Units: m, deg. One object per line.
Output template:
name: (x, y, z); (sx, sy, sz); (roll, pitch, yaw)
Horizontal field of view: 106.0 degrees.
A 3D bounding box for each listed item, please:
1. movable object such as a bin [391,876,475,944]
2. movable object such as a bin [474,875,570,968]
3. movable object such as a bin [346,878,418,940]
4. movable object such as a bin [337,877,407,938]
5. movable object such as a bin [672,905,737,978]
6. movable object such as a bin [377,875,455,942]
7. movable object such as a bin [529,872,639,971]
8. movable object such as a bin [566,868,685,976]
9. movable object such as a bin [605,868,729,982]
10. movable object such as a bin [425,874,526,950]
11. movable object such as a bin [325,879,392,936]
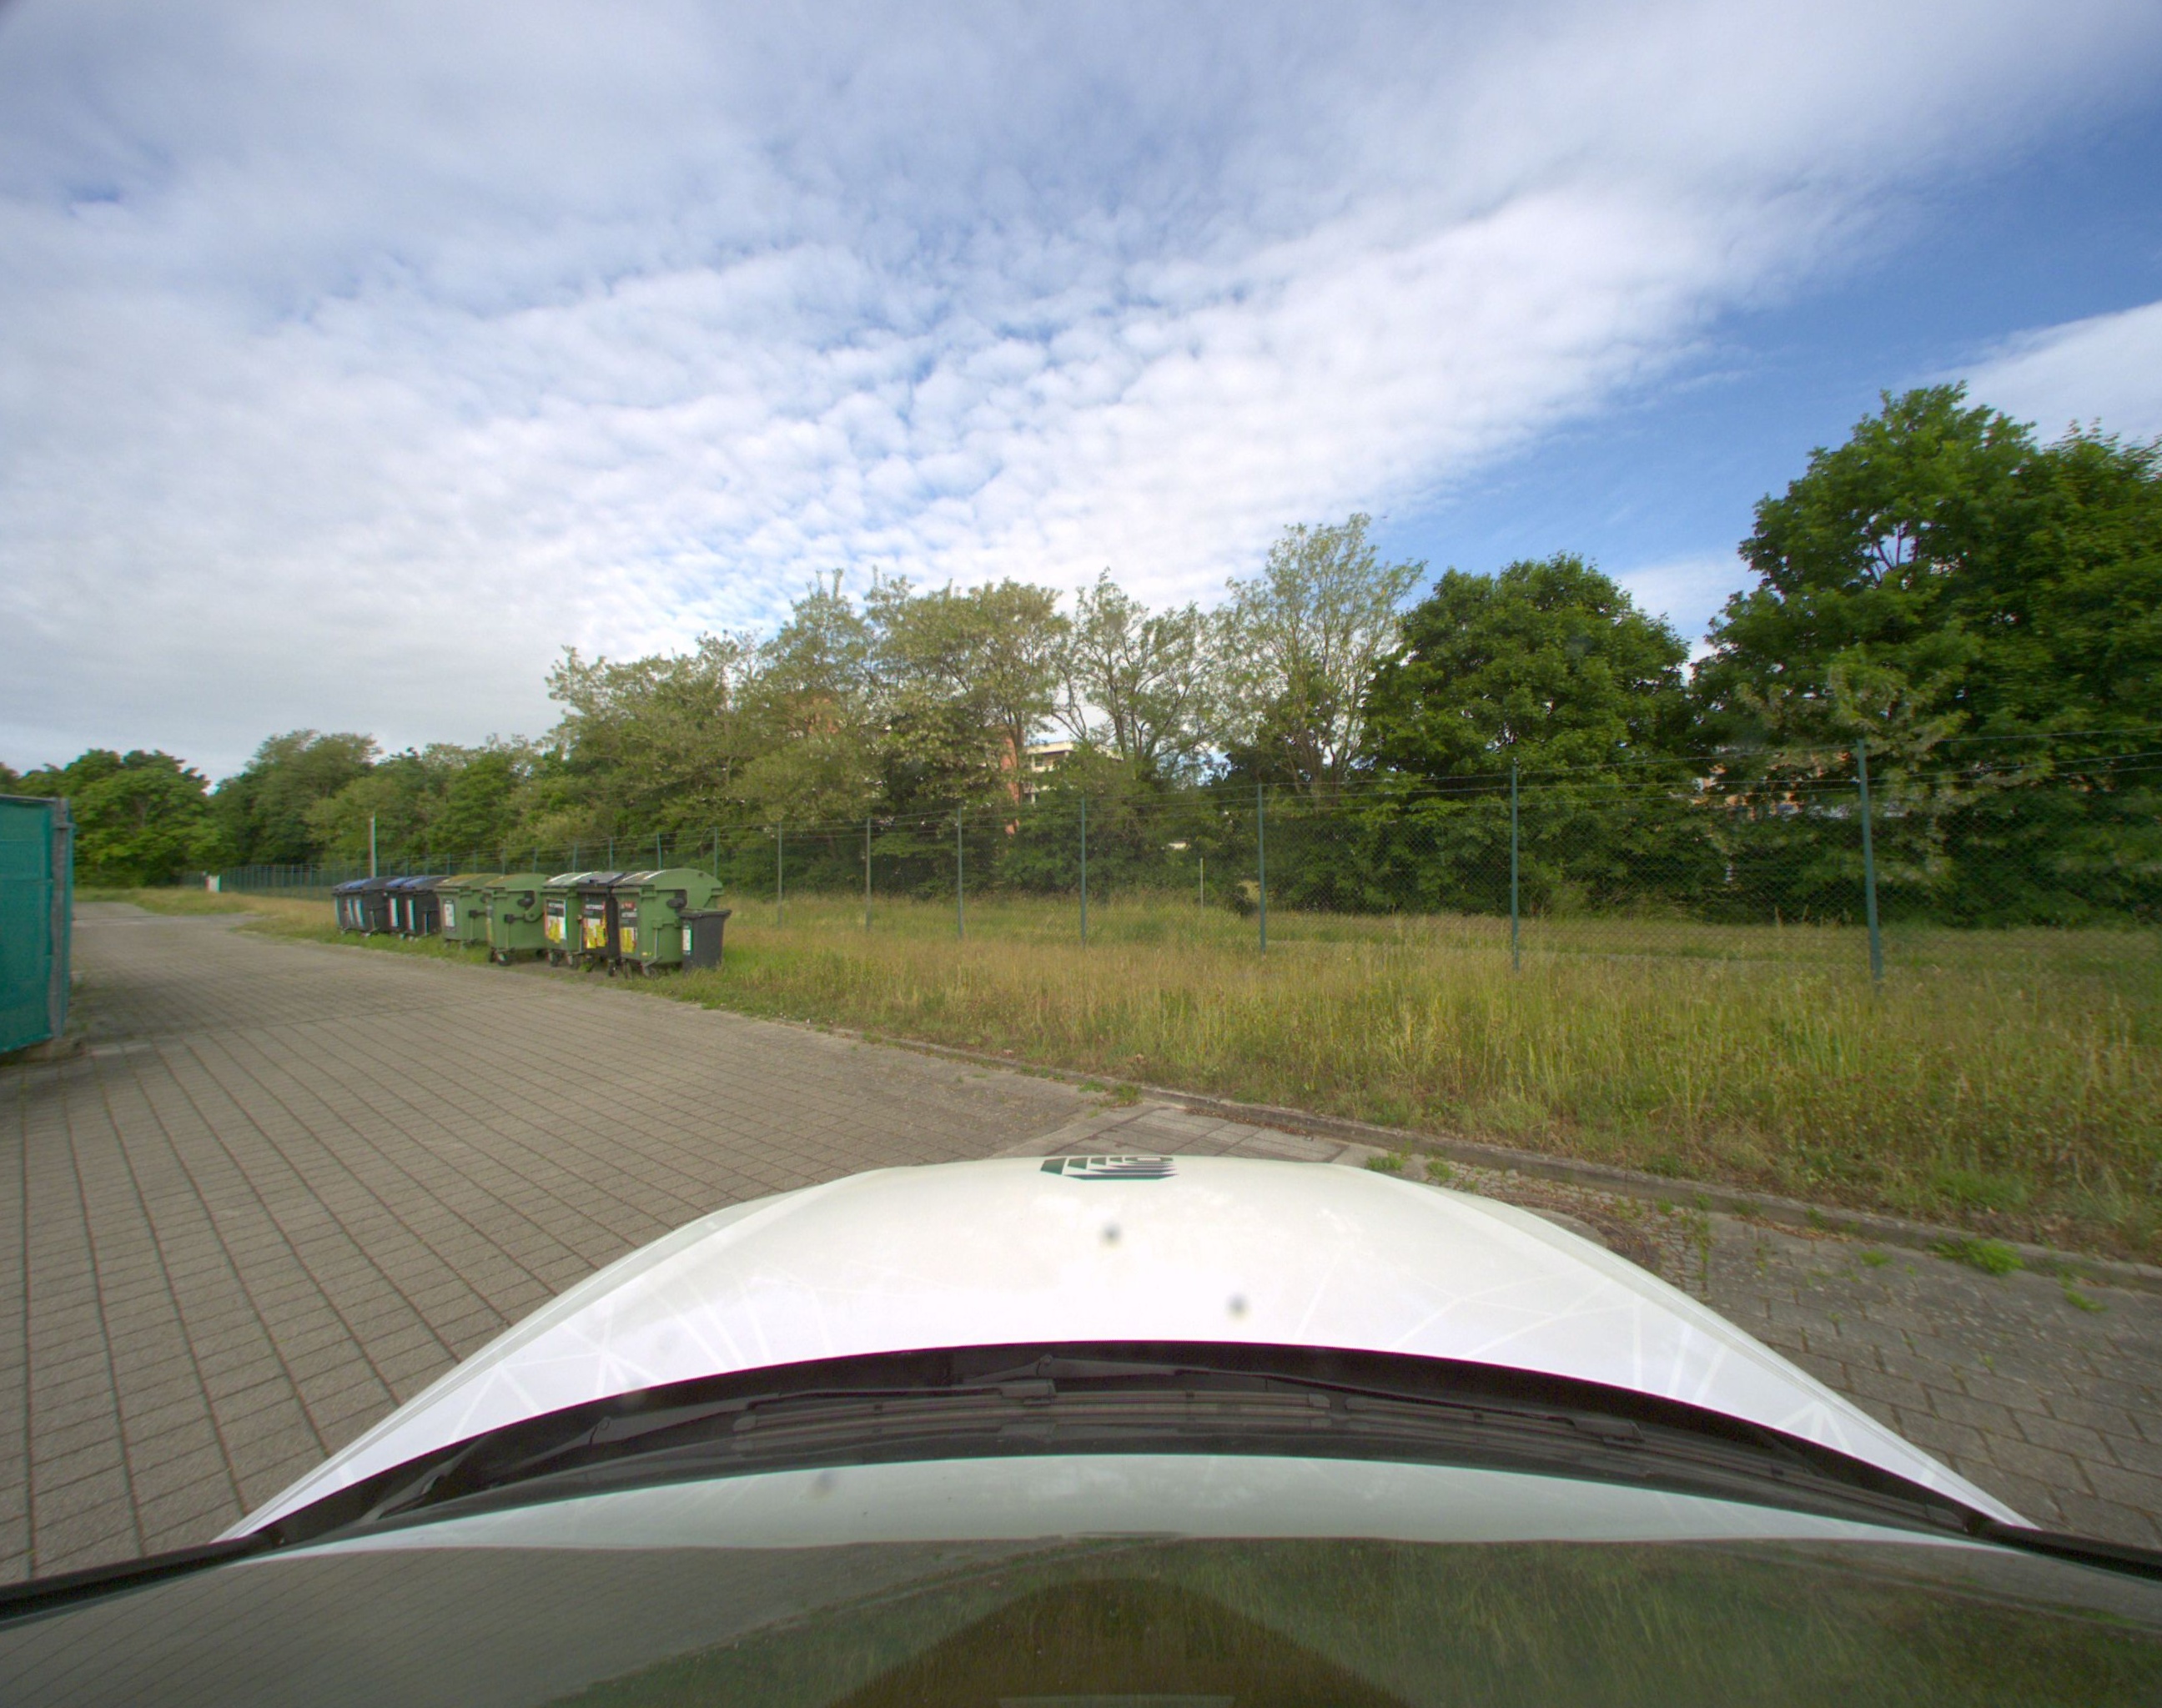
movable object such as a bin: (-13.467, 1.145, 16.922); (1.475, 1.325, 1.165); (-3, -3, 43)
movable object such as a bin: (-9.087, 1.055, 13.231); (1.132, 1.398, 1.368); (1, -3, -42)
movable object such as a bin: (-15.995, 1.222, 18.632); (1.308, 1.321, 1.133); (-2, -1, 44)
movable object such as a bin: (-16.959, 1.252, 19.484); (1.308, 1.379, 1.133); (-3, -3, 43)
movable object such as a bin: (-4.775, 1.090, 10.327); (0.605, 0.866, 0.578); (1, -3, -44)
movable object such as a bin: (-14.651, 1.181, 17.942); (1.475, 1.374, 1.133); (-3, -3, 43)
movable object such as a bin: (-7.645, 1.003, 12.533); (1.367, 1.406, 1.079); (-3, -3, 41)
movable object such as a bin: (-6.580, 0.943, 11.761); (1.380, 1.435, 1.079); (-3, -3, 41)
movable object such as a bin: (-5.550, 0.903, 10.906); (1.138, 1.396, 1.339); (1, -3, -44)
movable object such as a bin: (-11.056, 1.030, 14.873); (1.361, 1.296, 1.133); (-3, -3, 37)
movable object such as a bin: (-18.054, 1.312, 20.352); (1.408, 1.351, 1.133); (-3, -3, 43)
